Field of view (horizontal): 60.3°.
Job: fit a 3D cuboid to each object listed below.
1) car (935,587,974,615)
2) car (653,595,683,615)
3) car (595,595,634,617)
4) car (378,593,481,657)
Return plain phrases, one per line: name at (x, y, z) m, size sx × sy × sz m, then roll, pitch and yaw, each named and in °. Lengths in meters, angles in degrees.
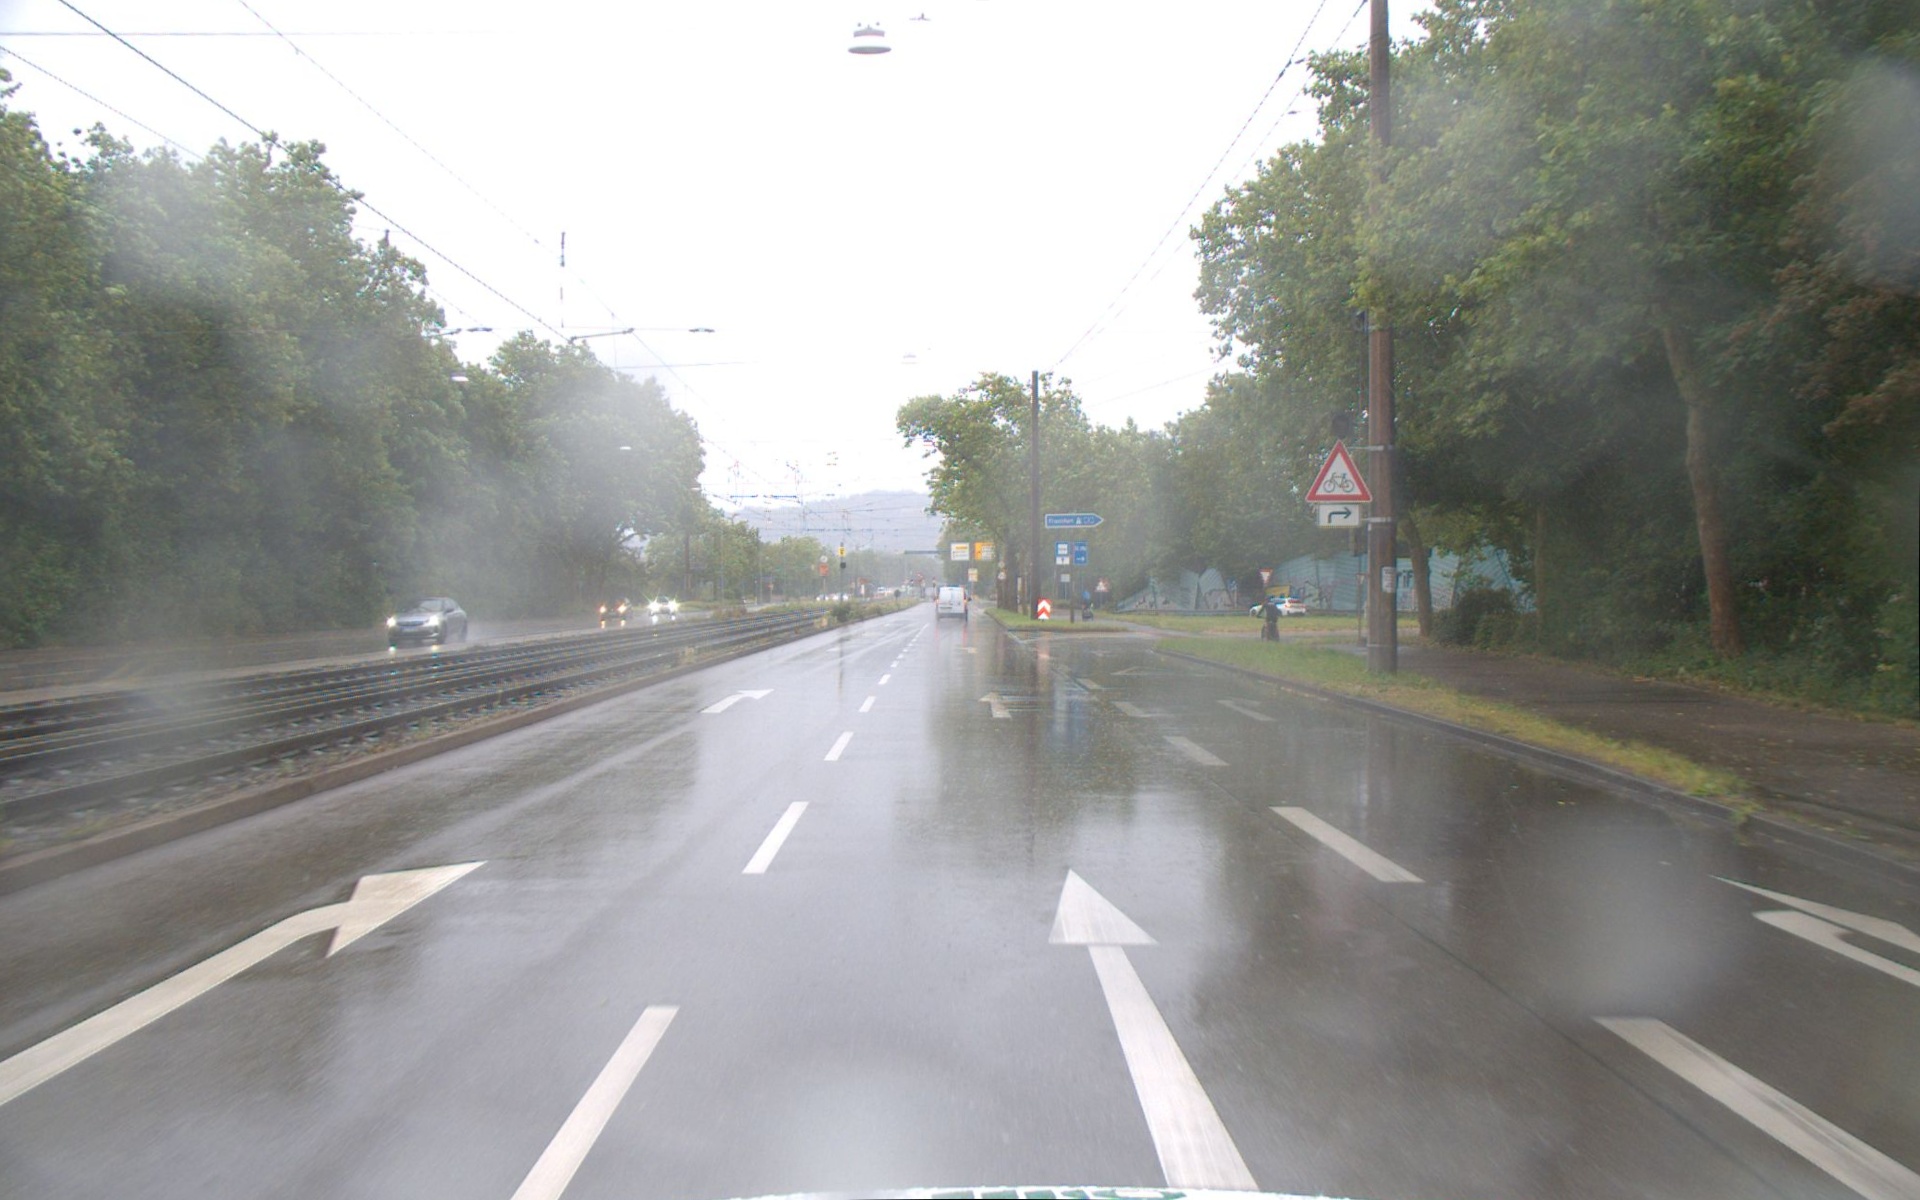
car at (-0.296, 0.052, 88.528) m, size 2.035 × 1.445 × 3.999 m, roll -1°, pitch 0°, yaw -1°
car at (-23.237, 0.377, 131.829) m, size 1.656 × 1.550 × 4.954 m, roll 0°, pitch 0°, yaw -2°
car at (-22.260, 0.388, 106.615) m, size 1.735 × 1.354 × 4.378 m, roll 0°, pitch 0°, yaw -2°
car at (-17.009, 0.763, 53.231) m, size 1.954 × 1.813 × 3.999 m, roll 5°, pitch 0°, yaw -1°
